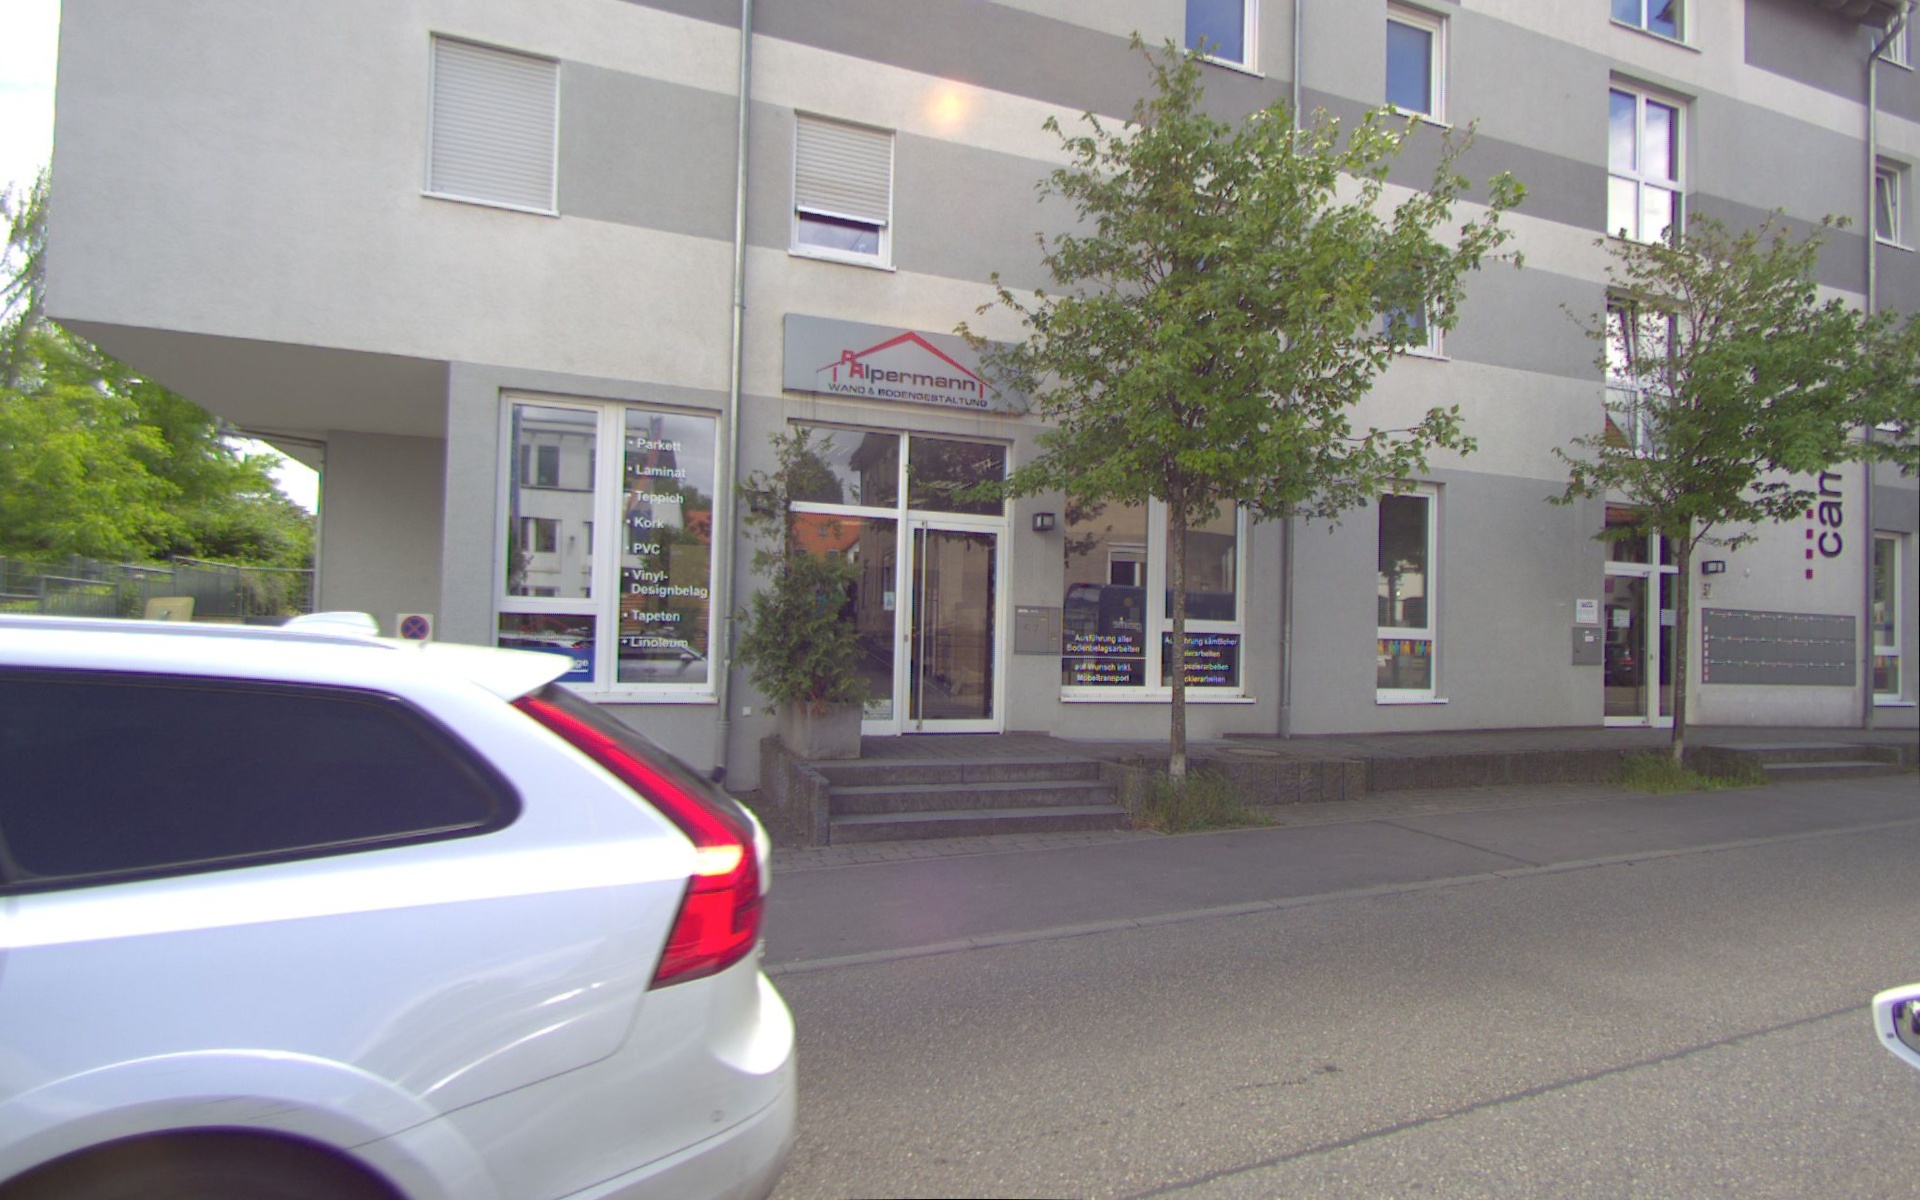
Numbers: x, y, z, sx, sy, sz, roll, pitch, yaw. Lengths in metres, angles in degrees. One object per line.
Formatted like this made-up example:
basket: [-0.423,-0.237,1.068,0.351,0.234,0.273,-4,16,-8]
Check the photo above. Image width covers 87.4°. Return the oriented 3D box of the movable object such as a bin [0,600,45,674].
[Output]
movable object such as a bin: [-23.151,0.875,24.075,1.489,1.753,1.080,2,-2,-27]

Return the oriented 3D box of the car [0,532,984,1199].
car: [-2.481,0.740,1.766,4.737,1.579,1.892,2,-5,-26]
